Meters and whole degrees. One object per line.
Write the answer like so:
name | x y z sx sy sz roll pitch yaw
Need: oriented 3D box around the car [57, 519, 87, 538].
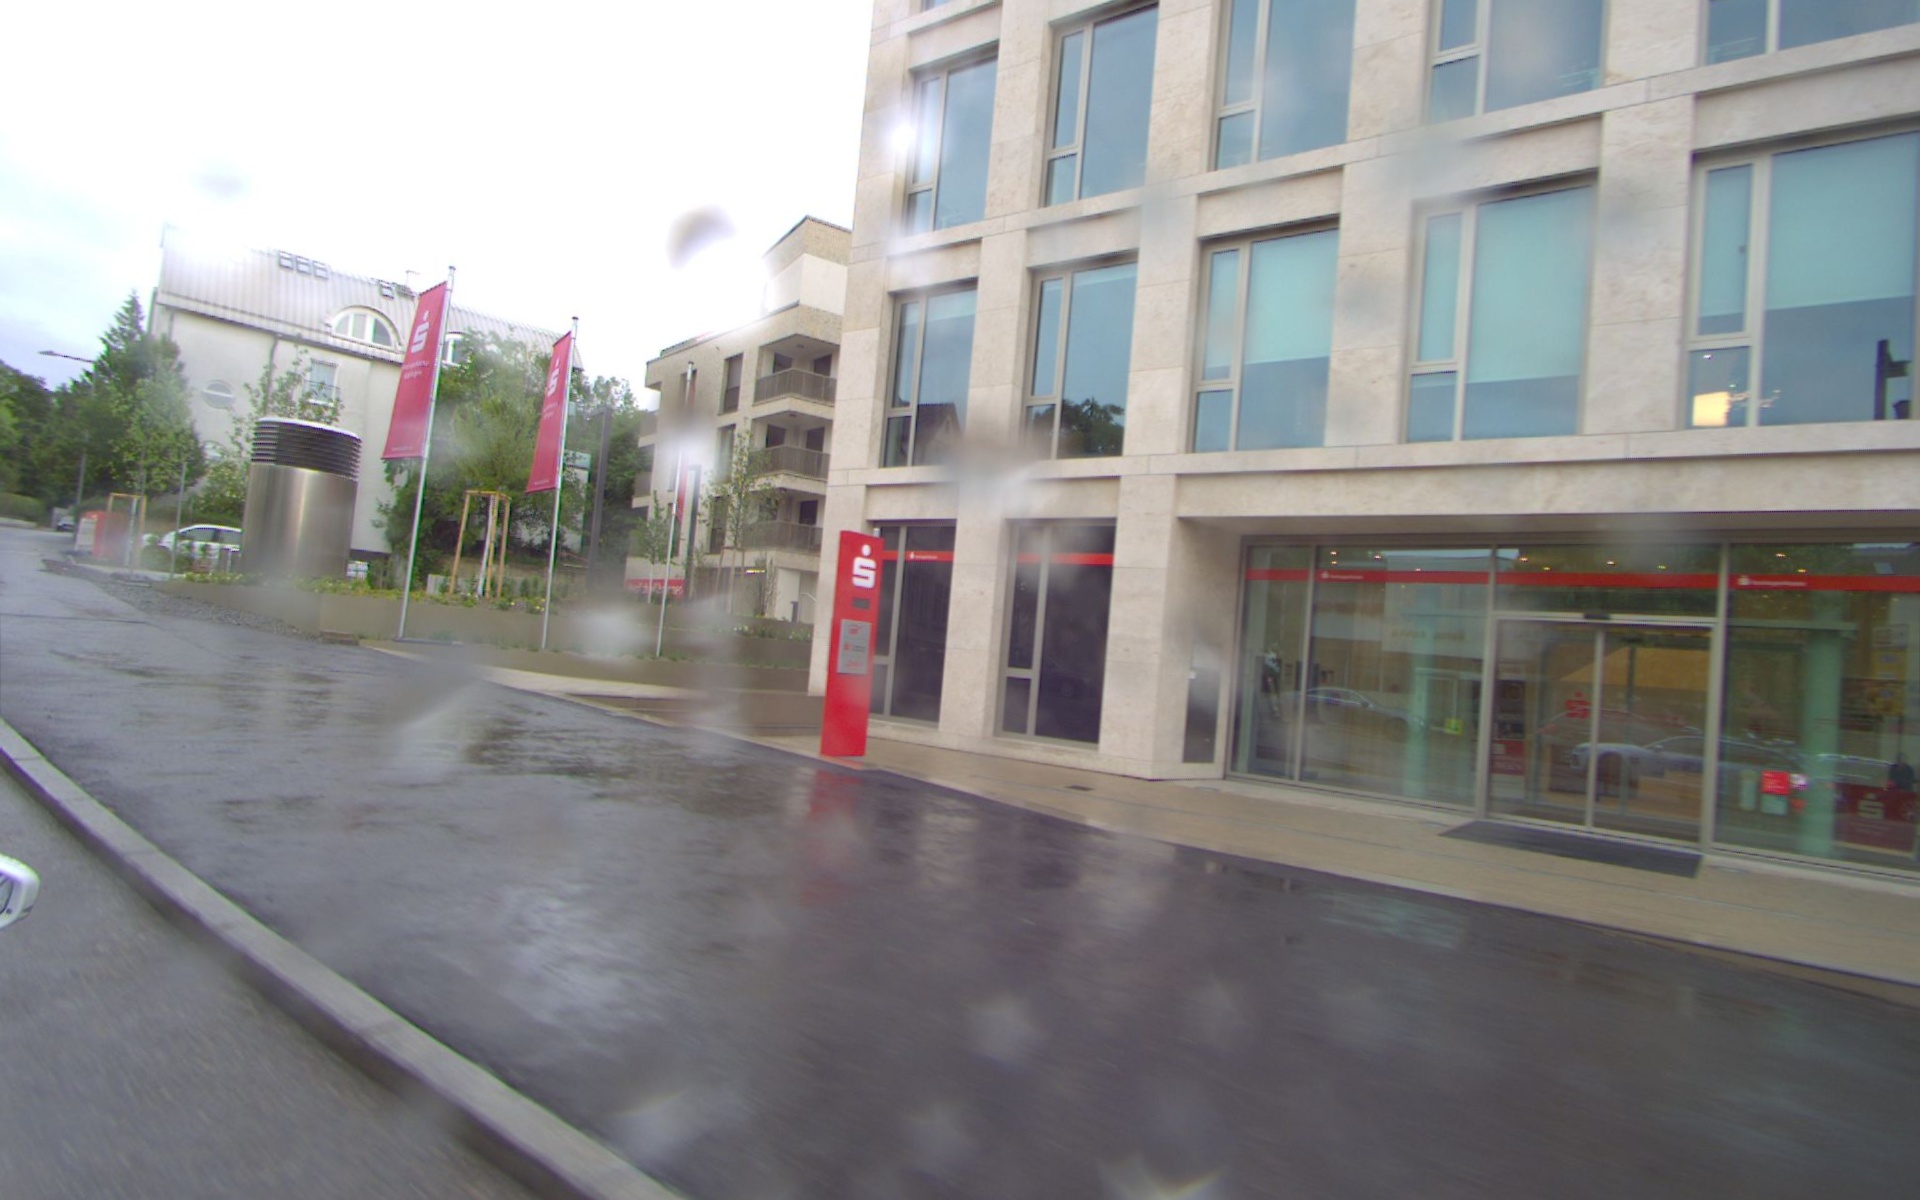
car | -75.604 -6.098 85.642 1.685 1.303 3.196 10 -3 -40

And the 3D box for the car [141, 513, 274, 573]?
car | -24.105 -1.805 32.267 3.213 1.302 1.676 11 -3 -41
